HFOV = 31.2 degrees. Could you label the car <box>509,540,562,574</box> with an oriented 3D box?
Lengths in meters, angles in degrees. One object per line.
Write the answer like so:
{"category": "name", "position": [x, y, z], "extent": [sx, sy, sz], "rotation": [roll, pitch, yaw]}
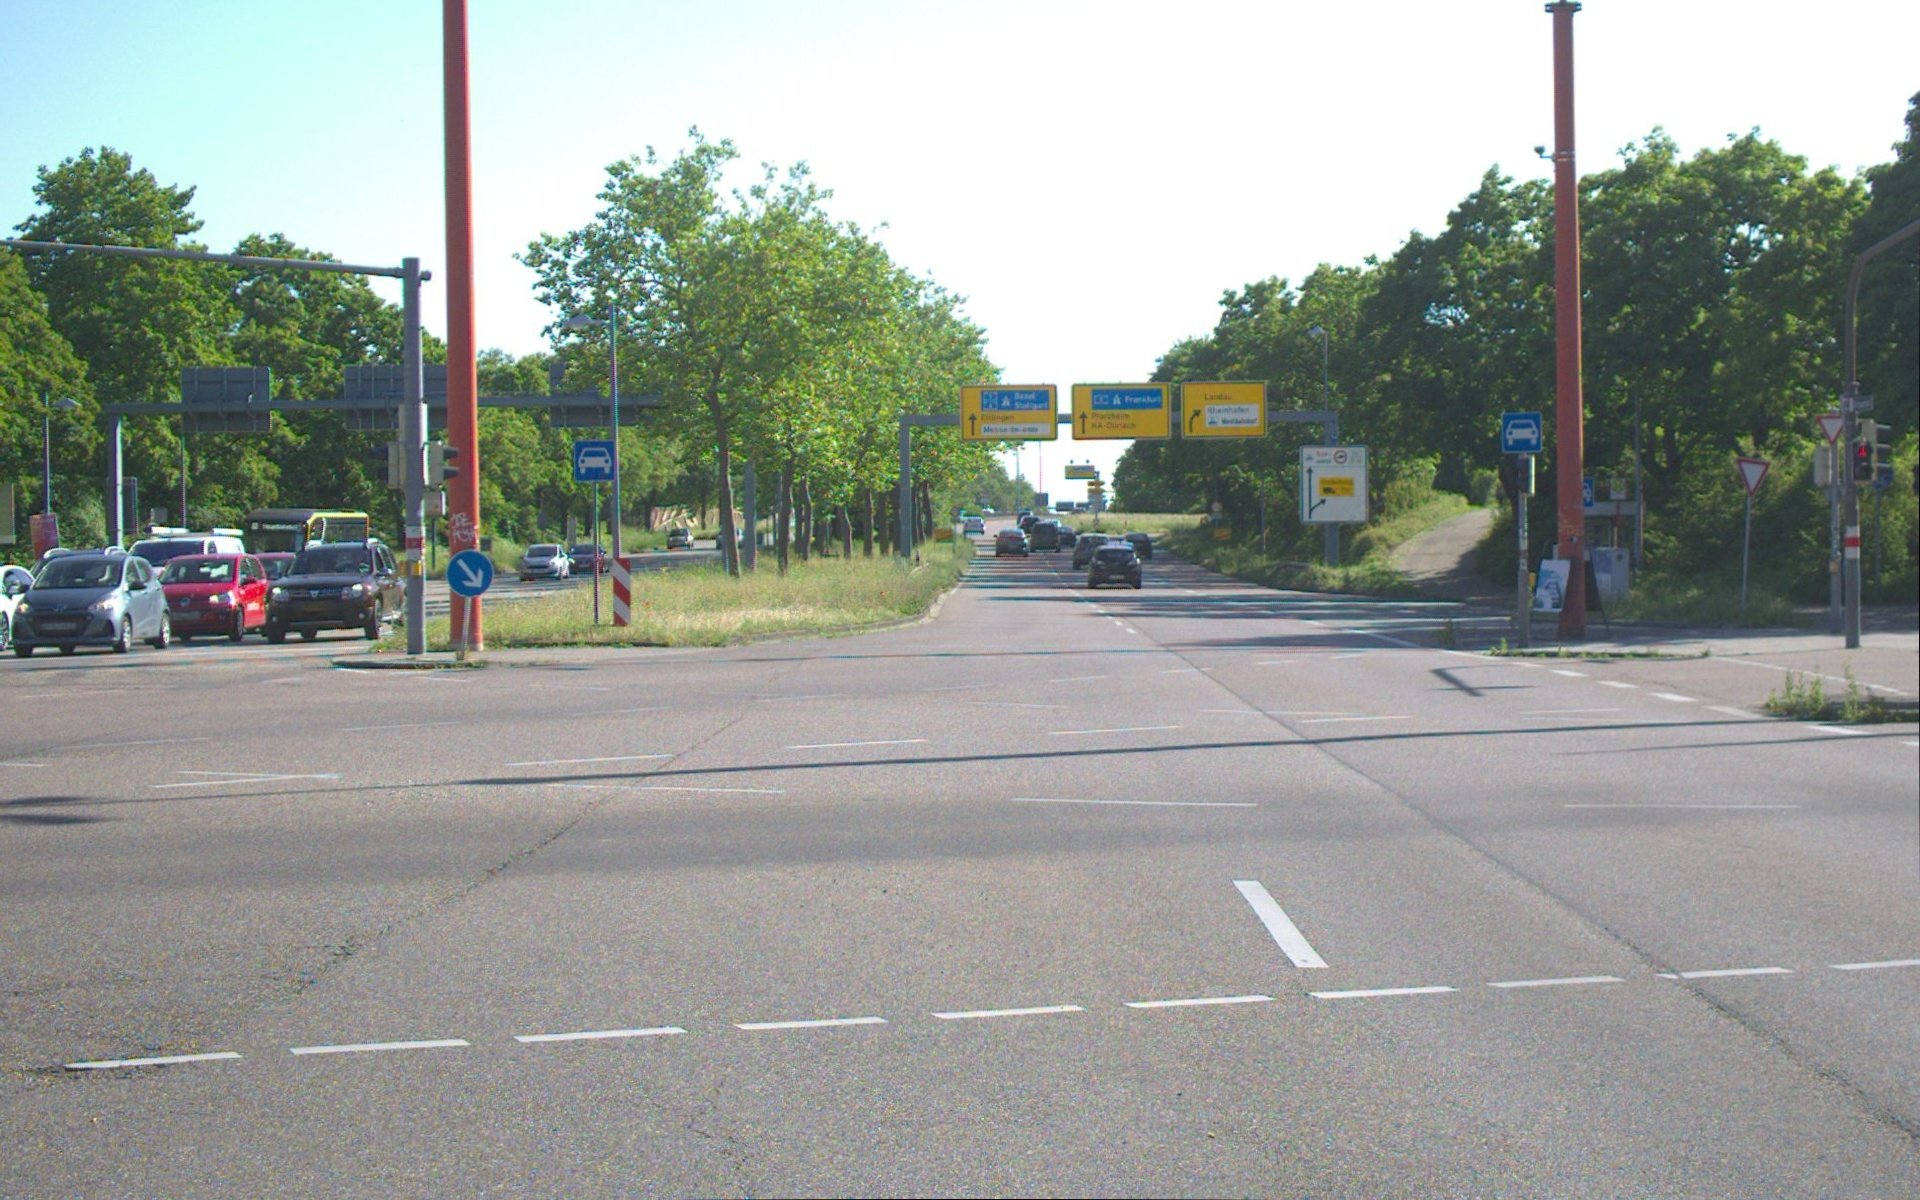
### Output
{"category": "car", "position": [-18.532, -1.904, 150.200], "extent": [1.884, 1.449, 3.656], "rotation": [-1, 1, 0]}

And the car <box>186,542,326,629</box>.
{"category": "car", "position": [-13.117, -0.295, 64.252], "extent": [1.993, 1.568, 4.121], "rotation": [-1, 1, -4]}

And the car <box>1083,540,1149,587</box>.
{"category": "car", "position": [5.336, -1.251, 117.807], "extent": [2.159, 1.568, 4.281], "rotation": [-1, 1, 1]}

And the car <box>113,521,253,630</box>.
{"category": "car", "position": [-16.115, -0.527, 71.513], "extent": [2.062, 2.185, 4.379], "rotation": [-1, 1, -2]}

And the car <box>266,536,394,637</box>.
{"category": "car", "position": [-10.248, -0.244, 56.152], "extent": [1.876, 1.568, 4.122], "rotation": [-1, 1, -8]}

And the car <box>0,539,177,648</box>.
{"category": "car", "position": [-13.253, -0.131, 52.171], "extent": [1.993, 1.568, 4.121], "rotation": [-1, 1, -3]}

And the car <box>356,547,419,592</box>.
{"category": "car", "position": [-20.806, -1.124, 125.055], "extent": [1.876, 1.568, 4.121], "rotation": [-1, 1, -5]}

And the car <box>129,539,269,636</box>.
{"category": "car", "position": [-12.899, -0.235, 58.473], "extent": [1.993, 1.568, 4.122], "rotation": [-1, 1, -8]}

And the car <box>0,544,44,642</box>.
{"category": "car", "position": [-16.489, -0.117, 57.040], "extent": [1.993, 1.568, 4.122], "rotation": [-2, 1, -8]}

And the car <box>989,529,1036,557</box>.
{"category": "car", "position": [2.955, -3.218, 194.138], "extent": [2.245, 1.568, 4.282], "rotation": [-1, 1, -5]}

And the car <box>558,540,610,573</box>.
{"category": "car", "position": [-18.203, -2.107, 166.516], "extent": [1.993, 1.568, 4.121], "rotation": [-1, 1, 1]}

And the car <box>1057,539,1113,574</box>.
{"category": "car", "position": [5.872, -2.059, 161.835], "extent": [2.158, 1.568, 4.281], "rotation": [-1, 1, -4]}

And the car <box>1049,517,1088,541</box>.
{"category": "car", "position": [7.228, -4.710, 228.931], "extent": [2.158, 1.568, 4.281], "rotation": [-1, 1, -4]}

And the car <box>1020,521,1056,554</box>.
{"category": "car", "position": [4.743, -3.806, 209.793], "extent": [1.993, 2.007, 4.000], "rotation": [-1, 1, -1]}
